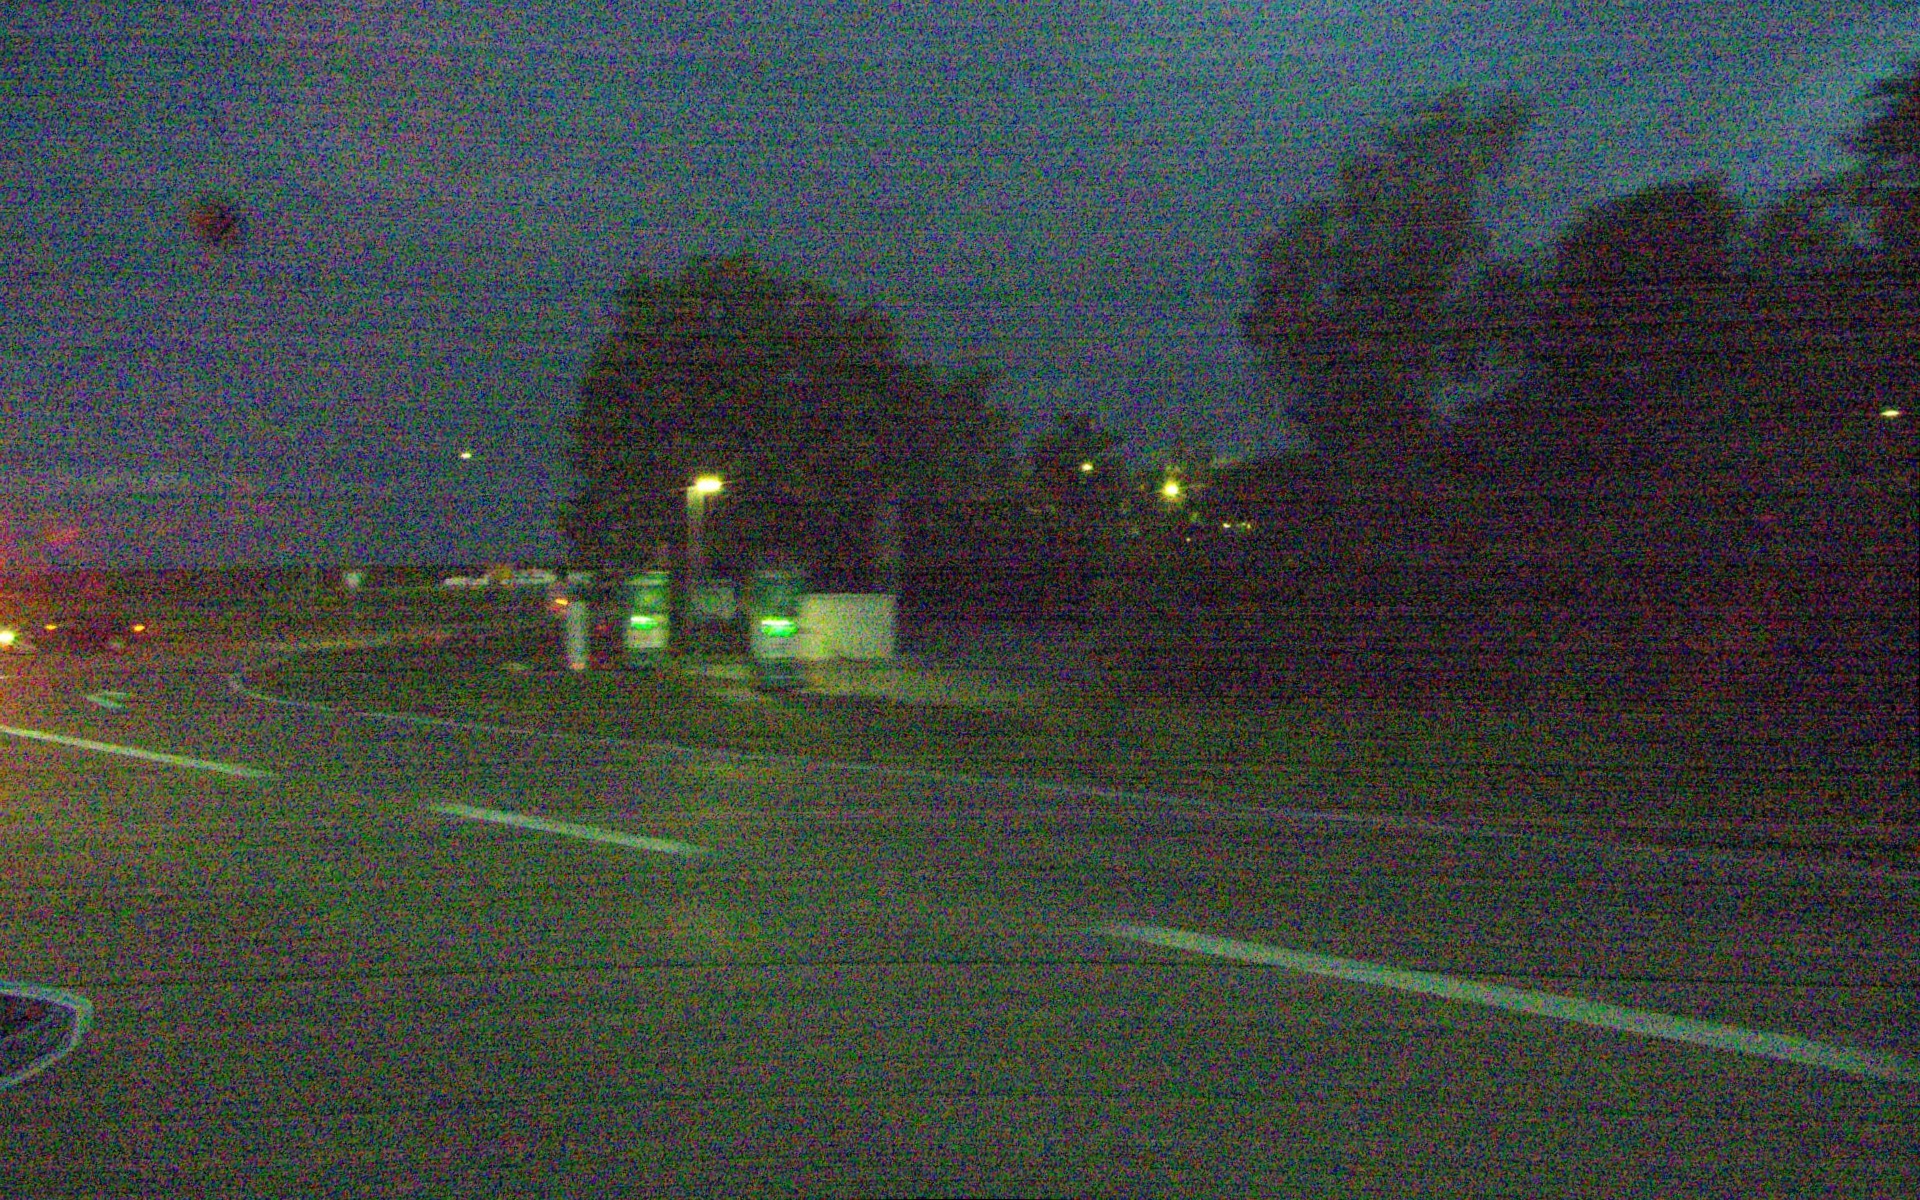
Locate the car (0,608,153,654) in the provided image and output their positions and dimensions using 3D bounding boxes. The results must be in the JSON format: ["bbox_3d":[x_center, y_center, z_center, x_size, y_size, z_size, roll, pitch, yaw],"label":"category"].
[{"bbox_3d":[-33.910,1.136,38.099,1.971,1.541,4.590,0,1,32],"label":"car"}]
